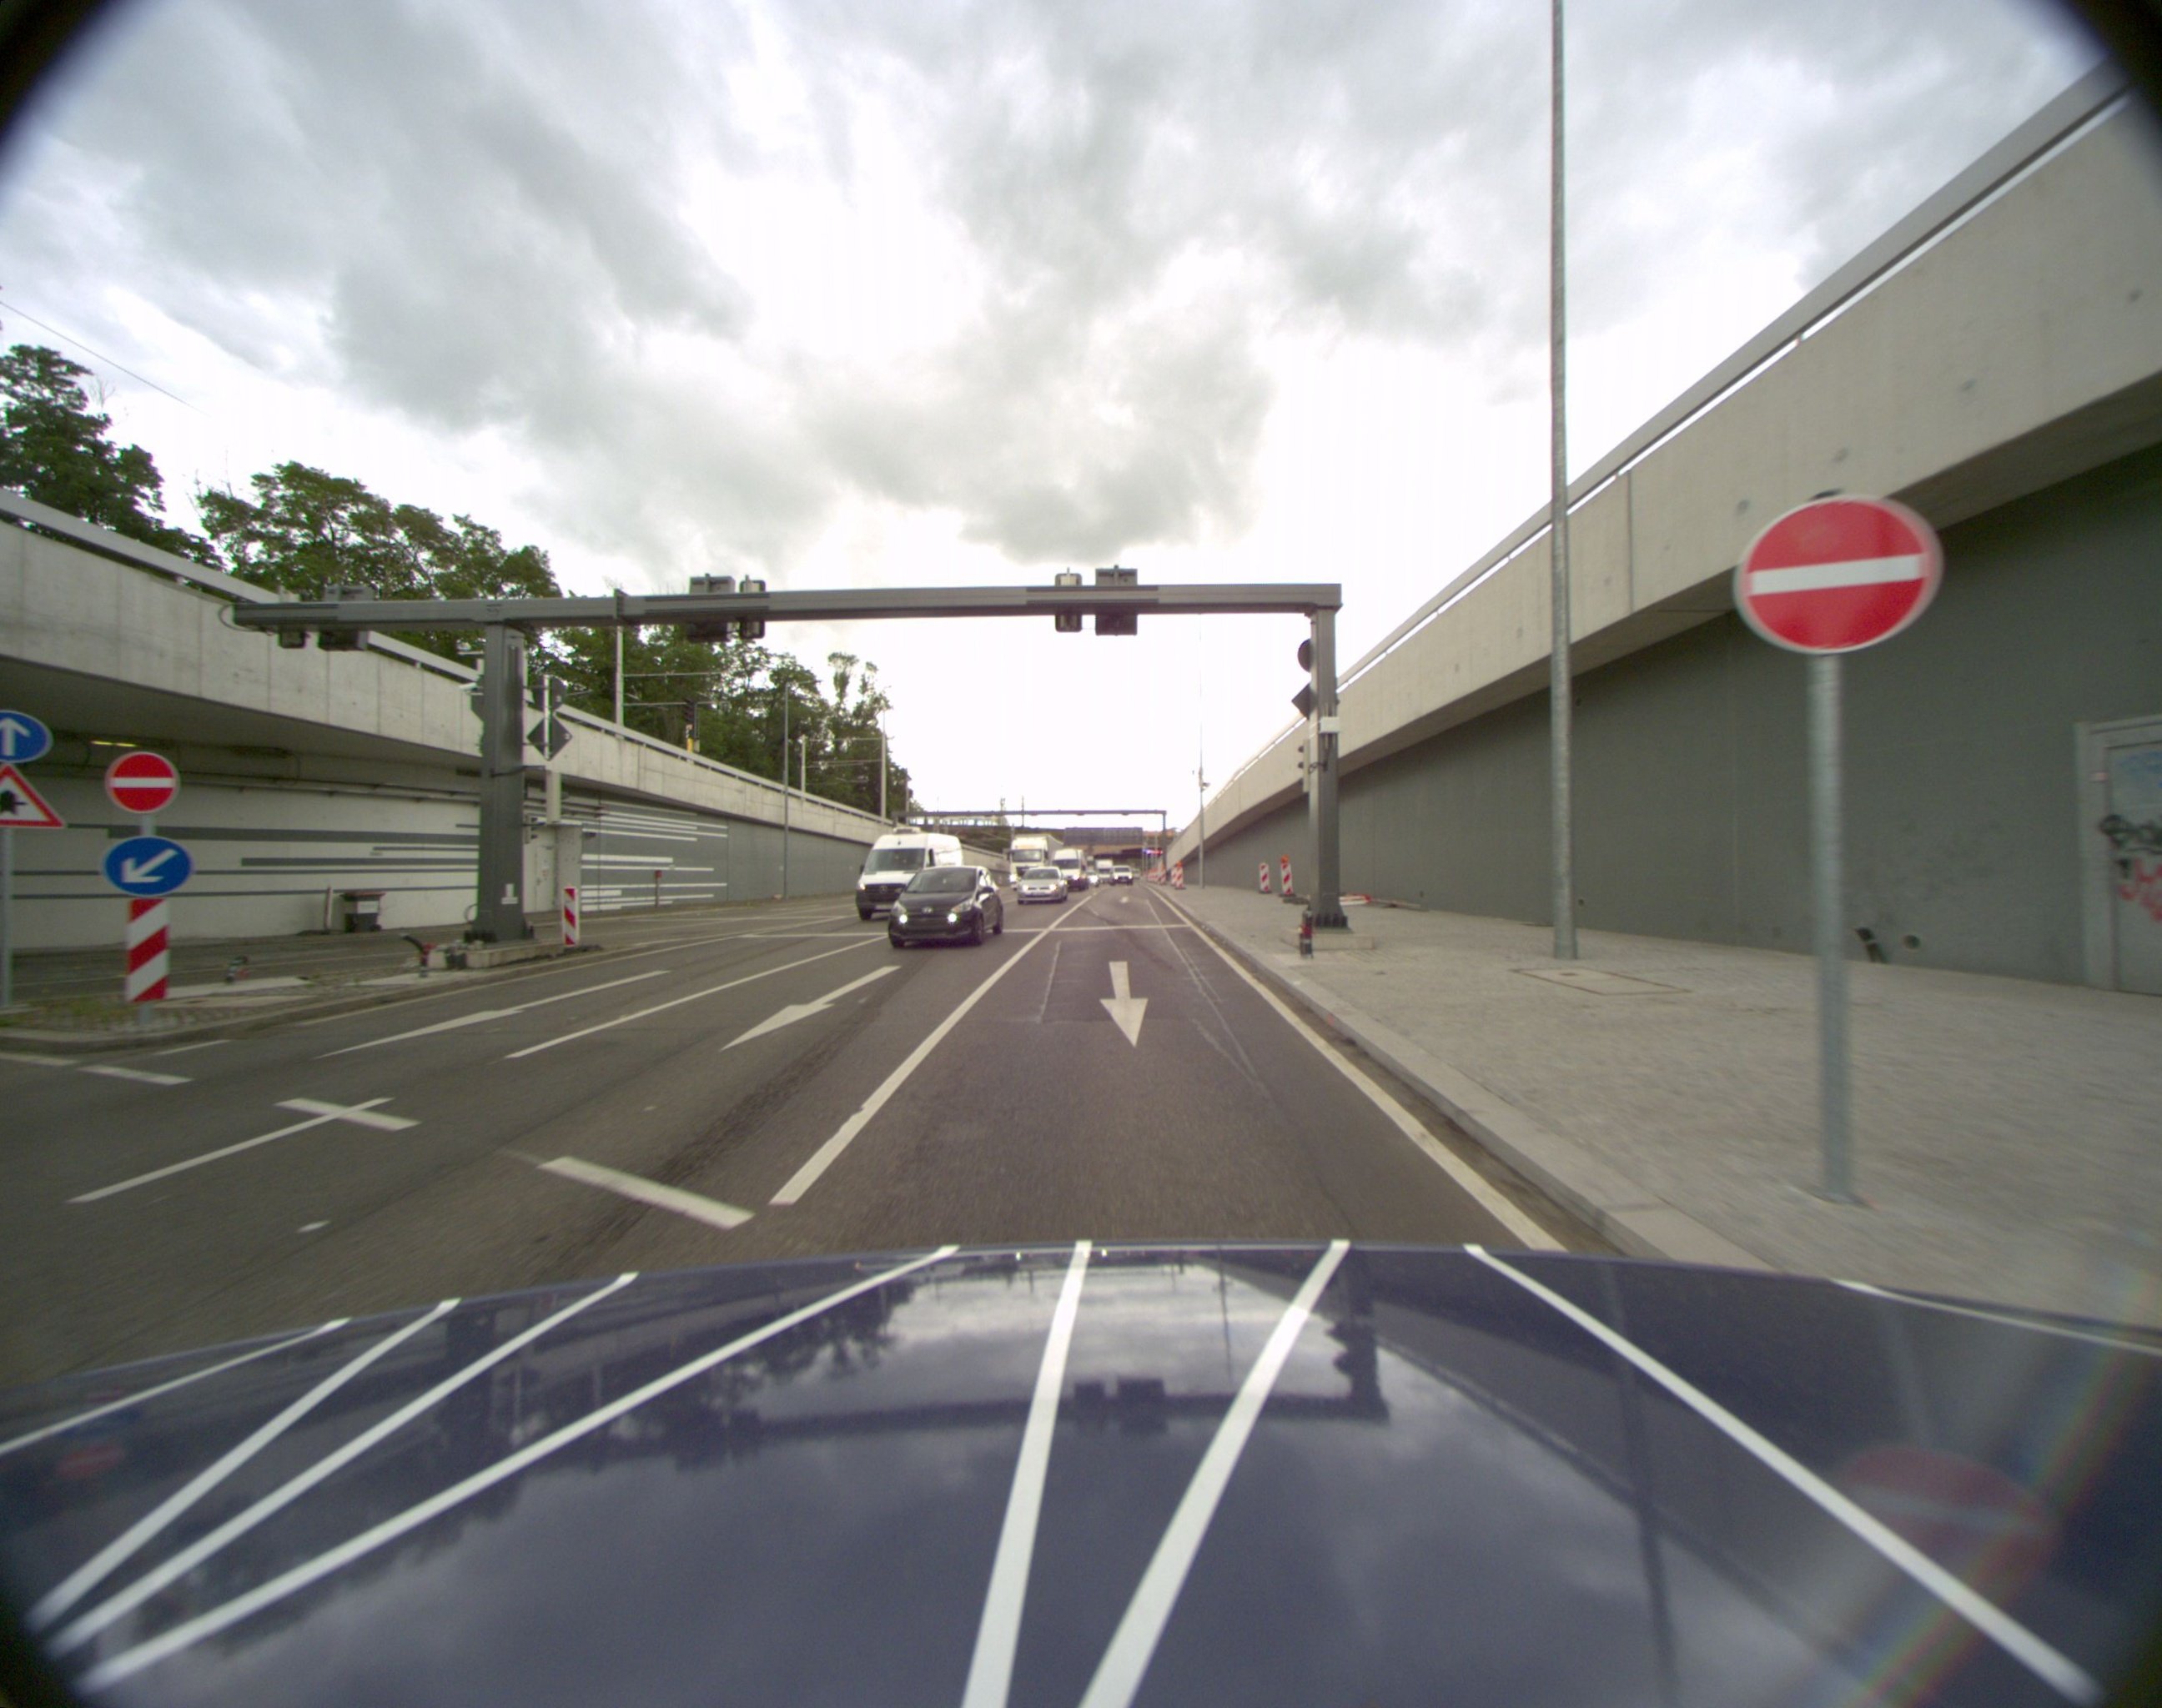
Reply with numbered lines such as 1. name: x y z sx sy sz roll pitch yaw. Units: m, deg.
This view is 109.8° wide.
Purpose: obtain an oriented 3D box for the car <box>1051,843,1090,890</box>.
1. car: -0.656 0.853 47.927 2.063 2.611 5.944 -4 -2 -1

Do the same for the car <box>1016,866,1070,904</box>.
1. car: -1.468 1.197 30.801 1.767 1.375 4.040 -1 0 3

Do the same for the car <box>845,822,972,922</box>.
1. car: -5.358 0.601 24.909 2.080 2.756 7.330 -1 -2 3

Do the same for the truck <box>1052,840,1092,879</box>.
1. truck: -0.890 0.685 88.052 3.733 4.116 10.988 -2 -1 3

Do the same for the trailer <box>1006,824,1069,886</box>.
1. trailer: -3.433 0.227 64.079 3.814 4.603 12.119 -3 -1 3

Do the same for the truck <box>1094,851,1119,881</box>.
1. truck: 3.587 1.620 103.734 3.032 3.565 8.953 -5 -1 3

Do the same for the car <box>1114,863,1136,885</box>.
1. car: 4.258 1.884 72.829 1.998 1.978 5.202 -3 -1 4

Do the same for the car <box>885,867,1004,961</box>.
1. car: -2.558 1.074 15.092 1.686 1.536 3.692 0 1 0

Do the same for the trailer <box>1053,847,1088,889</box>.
1. trailer: -0.693 0.969 51.916 2.109 2.623 4.810 -5 -1 0

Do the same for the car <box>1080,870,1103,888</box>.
1. car: 0.894 2.061 64.621 1.720 1.390 4.348 0 0 4

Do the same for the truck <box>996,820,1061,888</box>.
1. truck: -3.812 0.065 57.110 3.814 4.603 7.445 -3 -1 3
